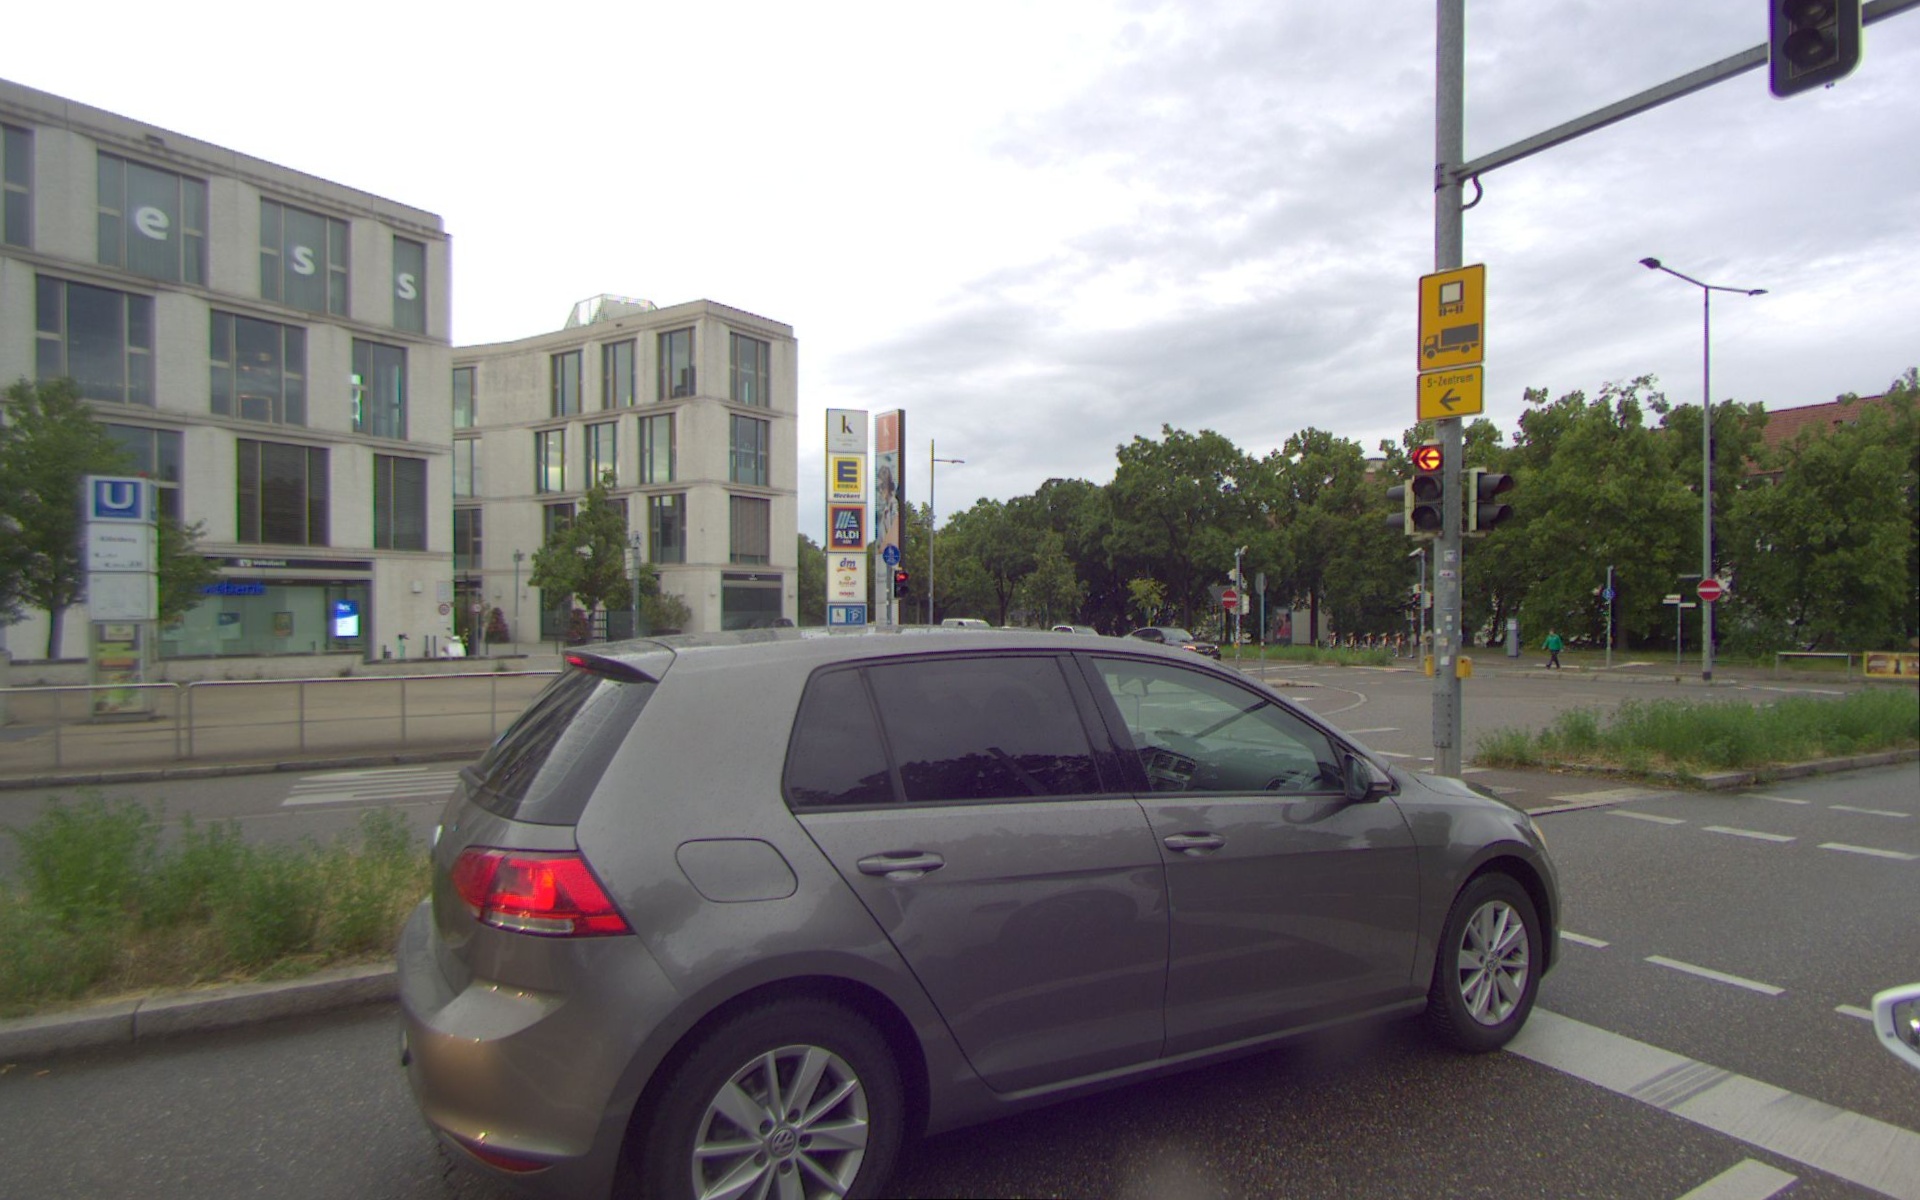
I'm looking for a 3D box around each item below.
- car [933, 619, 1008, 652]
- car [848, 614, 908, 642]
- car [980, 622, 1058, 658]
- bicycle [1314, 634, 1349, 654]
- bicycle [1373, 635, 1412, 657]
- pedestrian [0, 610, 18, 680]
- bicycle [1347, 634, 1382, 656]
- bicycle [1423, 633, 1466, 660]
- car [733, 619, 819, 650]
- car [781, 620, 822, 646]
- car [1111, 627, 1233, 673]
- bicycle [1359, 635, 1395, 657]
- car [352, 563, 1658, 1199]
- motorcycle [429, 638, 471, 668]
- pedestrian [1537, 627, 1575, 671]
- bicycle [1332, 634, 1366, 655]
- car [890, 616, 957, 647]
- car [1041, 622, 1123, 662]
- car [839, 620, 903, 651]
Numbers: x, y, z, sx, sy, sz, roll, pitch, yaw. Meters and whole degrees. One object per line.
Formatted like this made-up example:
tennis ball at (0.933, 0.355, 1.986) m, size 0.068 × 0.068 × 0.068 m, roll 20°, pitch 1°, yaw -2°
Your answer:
car at (0.531, 1.938, 55.405) m, size 1.976 × 1.615 × 4.855 m, roll 2°, pitch 0°, yaw -29°
car at (-5.460, 1.808, 66.112) m, size 1.977 × 1.615 × 4.852 m, roll 2°, pitch 0°, yaw -31°
car at (2.960, 1.989, 50.878) m, size 1.976 × 1.615 × 4.185 m, roll 2°, pitch 0°, yaw -29°
bicycle at (20.267, 2.396, 54.765) m, size 1.959 × 1.085 × 0.649 m, roll 2°, pitch 0°, yaw -30°
bicycle at (22.242, 2.355, 51.651) m, size 1.959 × 1.085 × 0.798 m, roll 2°, pitch 0°, yaw -30°
pedestrian at (-22.621, 1.042, 23.411) m, size 0.908 × 1.626 × 0.755 m, roll 2°, pitch -1°, yaw -43°
bicycle at (21.371, 2.372, 53.035) m, size 1.959 × 1.085 × 0.649 m, roll 2°, pitch 0°, yaw -30°
bicycle at (23.759, 2.258, 49.263) m, size 1.959 × 1.266 × 0.986 m, roll 2°, pitch 0°, yaw -30°
car at (-9.187, 1.710, 50.317) m, size 1.968 × 1.483 × 3.985 m, roll 0°, pitch -2°, yaw 37°
car at (-12.744, 2.656, 80.669) m, size 1.976 × 2.040 × 3.969 m, roll 1°, pitch -1°, yaw -29°
car at (8.395, 1.960, 40.240) m, size 1.976 × 1.520 × 5.001 m, roll 2°, pitch 0°, yaw -29°
bicycle at (21.672, 2.389, 52.175) m, size 1.959 × 1.085 × 0.649 m, roll 2°, pitch 0°, yaw -30°
car at (0.399, 0.751, 3.582) m, size 4.325 × 1.501 × 1.807 m, roll 2°, pitch -1°, yaw -30°
motorcycle at (-14.172, 1.461, 27.921) m, size 1.081 × 0.750 × 0.522 m, roll 2°, pitch 0°, yaw 29°
pedestrian at (24.388, 1.988, 41.124) m, size 0.933 × 1.750 × 0.920 m, roll 2°, pitch 0°, yaw -23°
bicycle at (20.938, 2.383, 54.036) m, size 1.959 × 1.085 × 0.649 m, roll 2°, pitch 0°, yaw -30°
car at (-2.258, 1.878, 60.392) m, size 1.976 × 1.615 × 4.855 m, roll 2°, pitch 0°, yaw -29°
car at (5.556, 1.903, 46.027) m, size 1.976 × 1.615 × 3.536 m, roll 2°, pitch 0°, yaw -30°
car at (-5.330, 2.104, 59.697) m, size 1.976 × 1.615 × 4.855 m, roll 2°, pitch 0°, yaw -29°
